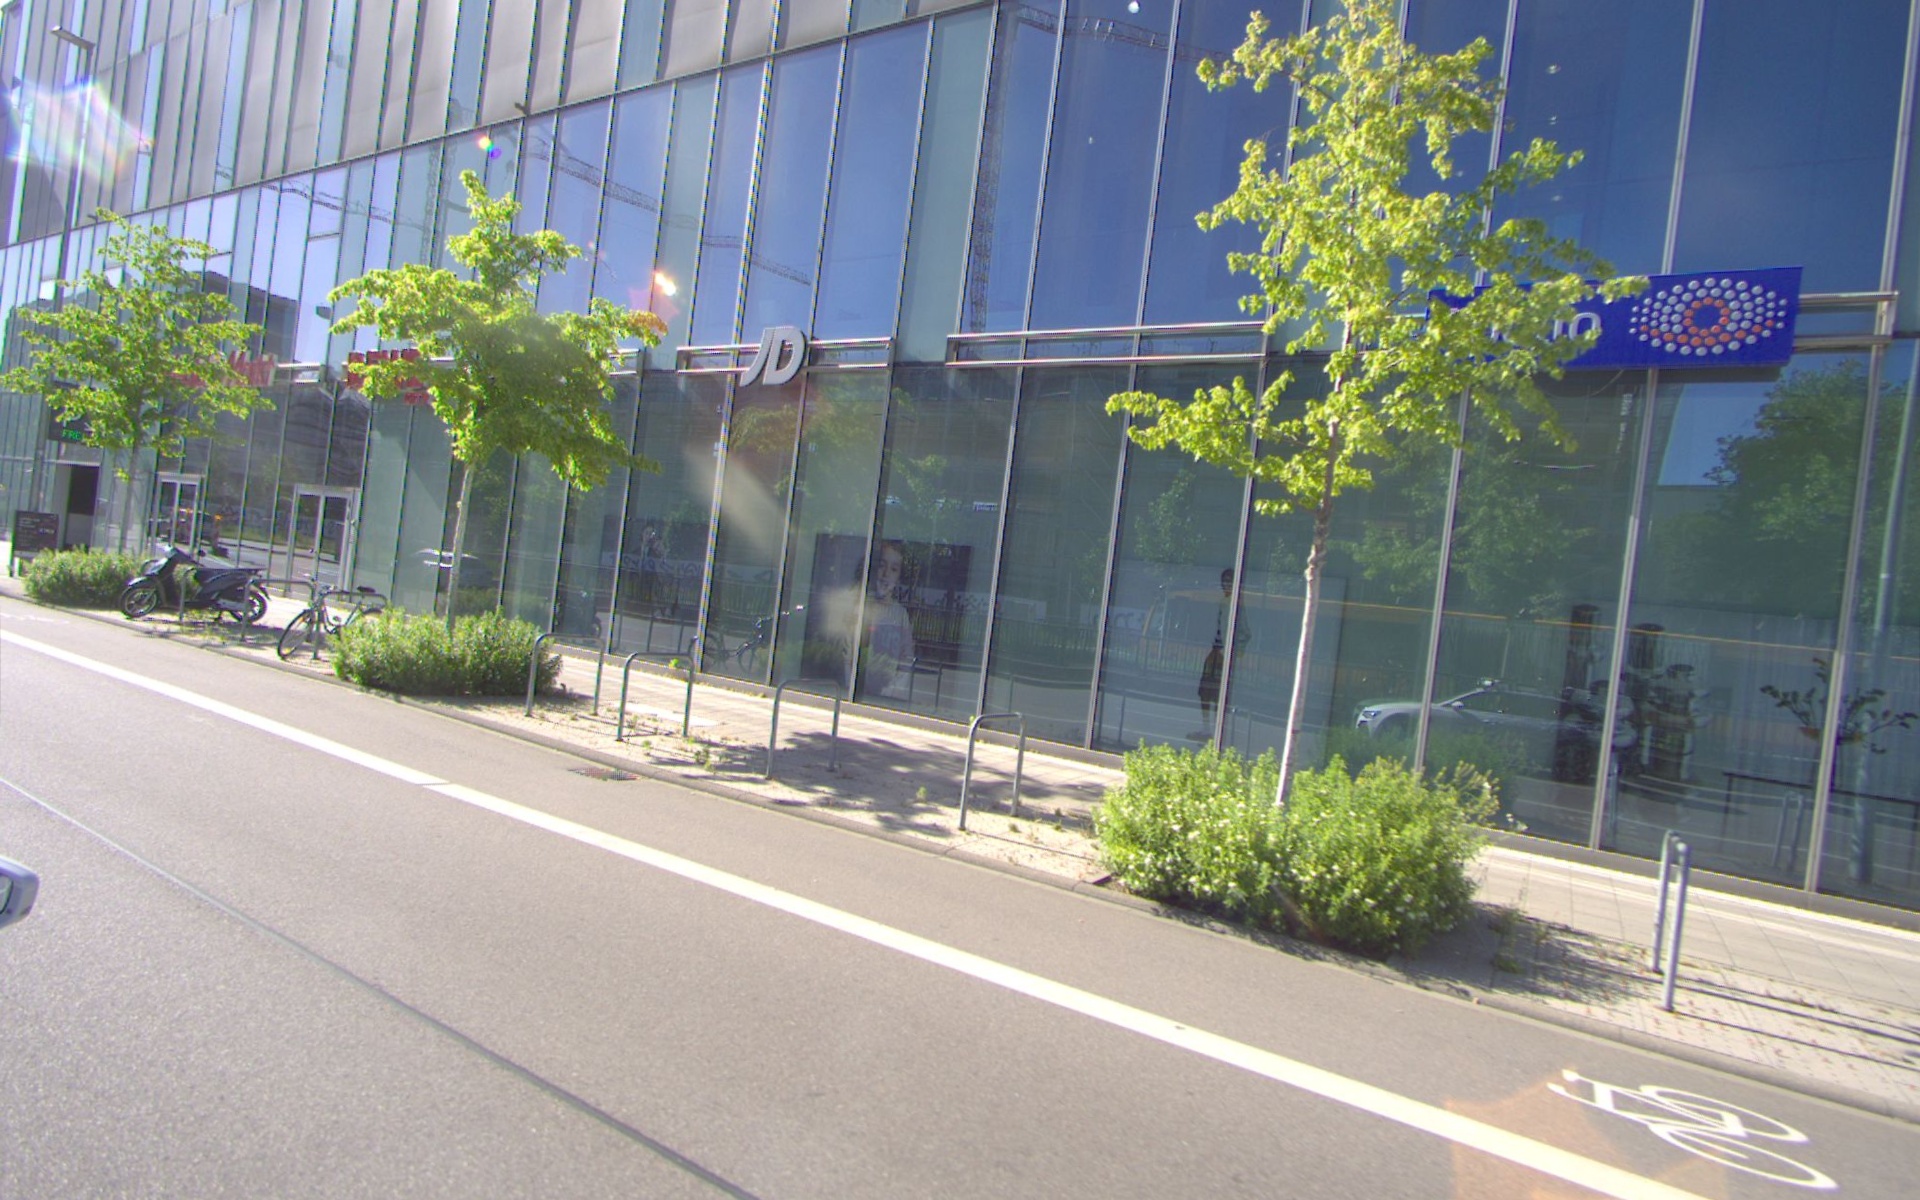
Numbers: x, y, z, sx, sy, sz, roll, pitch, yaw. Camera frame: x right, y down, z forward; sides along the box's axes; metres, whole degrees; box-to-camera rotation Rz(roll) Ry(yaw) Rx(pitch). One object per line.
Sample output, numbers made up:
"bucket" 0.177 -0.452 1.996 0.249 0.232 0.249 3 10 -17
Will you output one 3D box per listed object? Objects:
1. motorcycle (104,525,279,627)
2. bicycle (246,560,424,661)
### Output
"motorcycle" -11.866 -0.355 15.624 2.059 1.371 0.646 5 2 -35
"bicycle" -8.135 0.157 13.207 0.659 1.166 1.886 7 1 22
